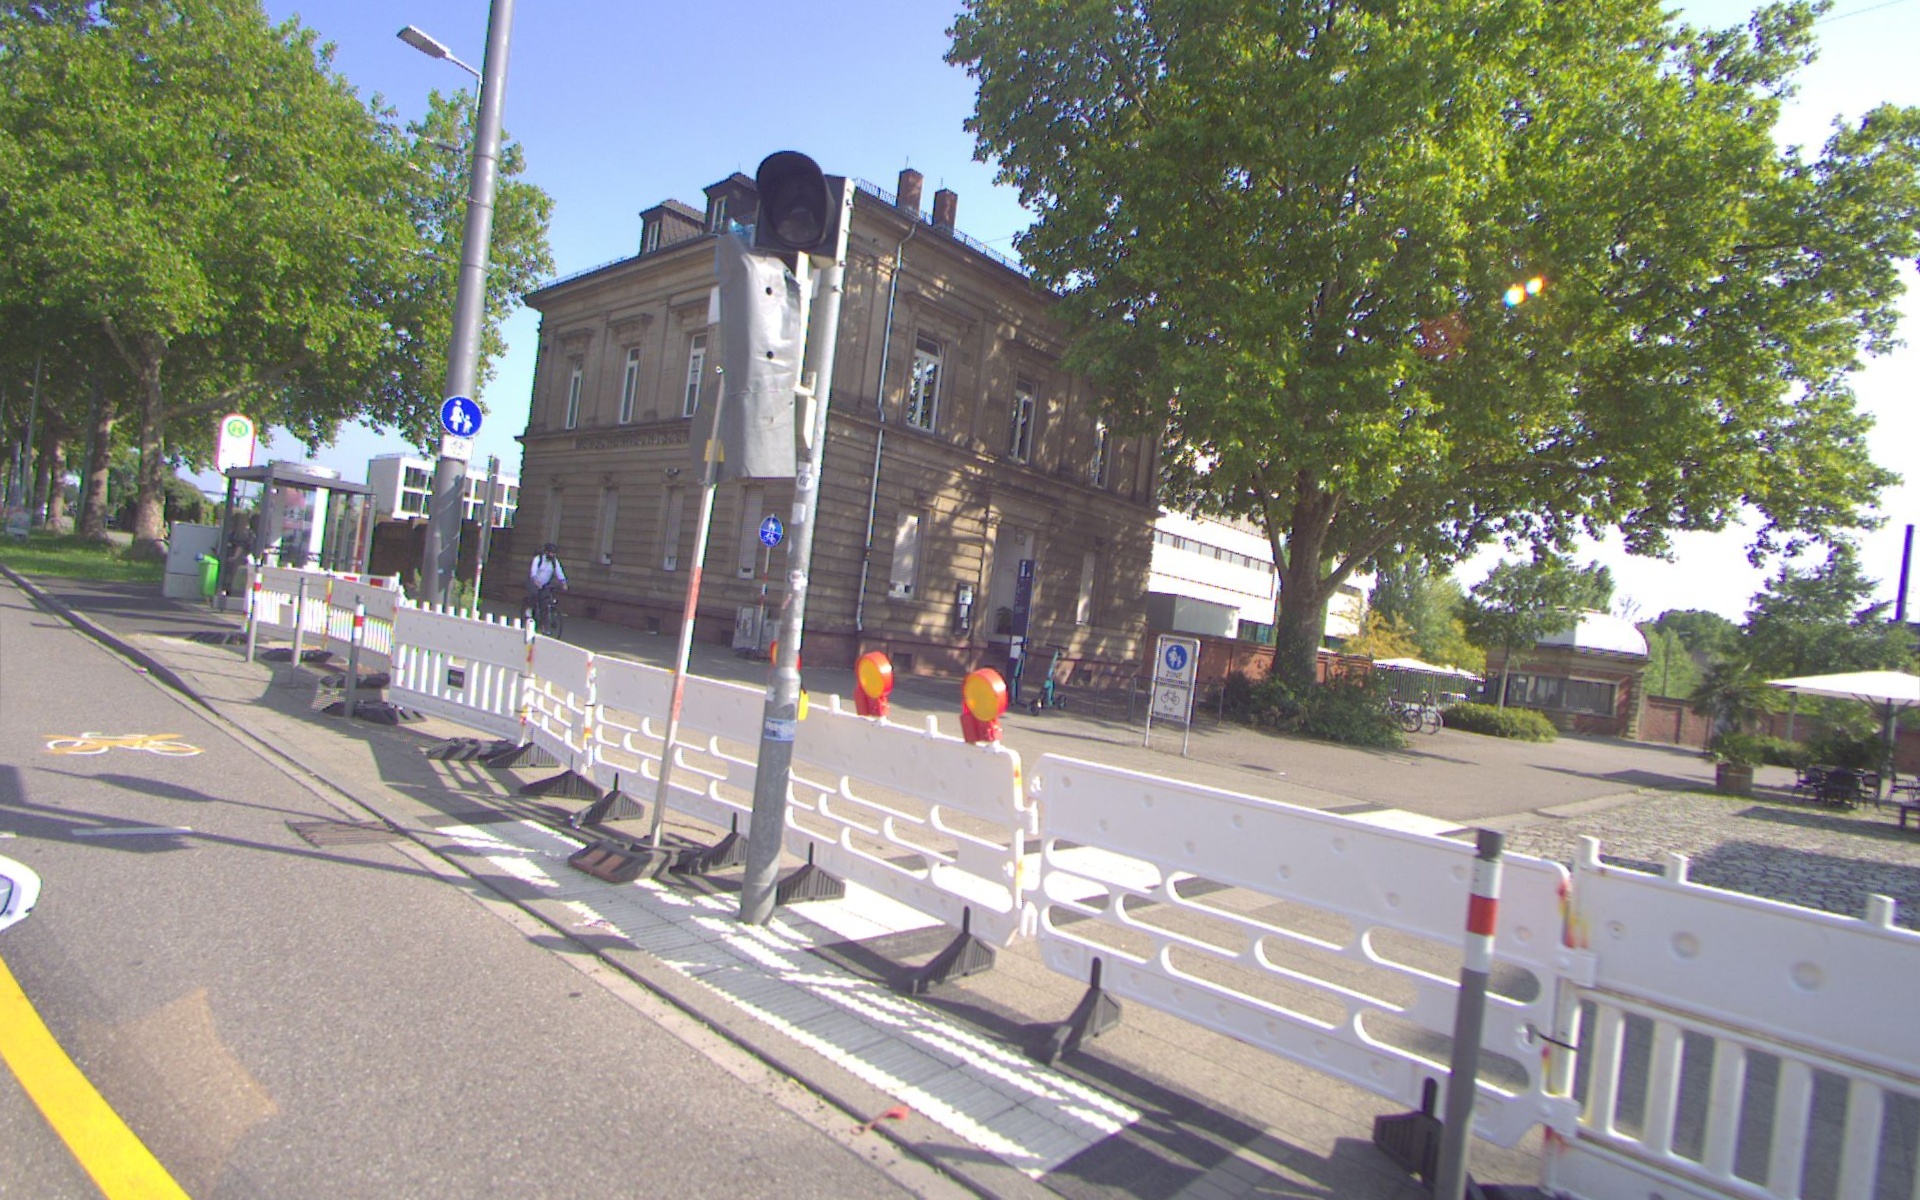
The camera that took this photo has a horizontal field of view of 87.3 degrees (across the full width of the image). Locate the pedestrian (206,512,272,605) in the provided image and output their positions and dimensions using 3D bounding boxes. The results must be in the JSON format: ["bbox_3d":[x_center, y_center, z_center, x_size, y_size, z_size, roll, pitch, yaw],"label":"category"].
[{"bbox_3d":[-14.242,-0.815,19.879,0.637,1.718,0.689,7,0,23],"label":"pedestrian"}]

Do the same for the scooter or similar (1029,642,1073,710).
[{"bbox_3d":[1.778,1.448,19.499,0.415,1.225,1.255,8,1,18],"label":"scooter or similar"}]

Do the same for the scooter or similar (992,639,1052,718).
[{"bbox_3d":[1.102,1.386,18.080,0.417,1.225,1.247,7,2,-24],"label":"scooter or similar"}]

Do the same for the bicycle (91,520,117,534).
[{"bbox_3d":[-75.412,-6.424,88.642,1.649,0.982,0.500,5,1,-41],"label":"bicycle"}]

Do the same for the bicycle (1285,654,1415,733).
[{"bbox_3d":[11.125,2.647,28.817,3.241,1.824,0.845,6,0,43],"label":"bicycle"}]

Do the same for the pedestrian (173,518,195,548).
[{"bbox_3d":[-44.607,-3.830,57.833,0.935,1.624,0.804,6,1,44],"label":"pedestrian"}]

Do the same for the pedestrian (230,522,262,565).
[{"bbox_3d":[-30.301,-2.402,42.682,0.999,1.707,0.817,6,1,44],"label":"pedestrian"}]

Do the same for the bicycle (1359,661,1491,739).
[{"bbox_3d":[13.571,2.896,29.454,3.241,1.824,0.845,6,0,43],"label":"bicycle"}]

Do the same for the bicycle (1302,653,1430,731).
[{"bbox_3d":[11.879,2.684,29.571,3.241,1.824,0.845,6,0,43],"label":"bicycle"}]

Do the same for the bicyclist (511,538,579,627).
[{"bbox_3d":[-7.946,-0.339,19.262,0.942,1.562,0.716,7,0,41],"label":"bicyclist"}]

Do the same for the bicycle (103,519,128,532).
[{"bbox_3d":[-77.754,-6.898,92.638,1.650,0.982,0.500,5,1,-44],"label":"bicycle"}]

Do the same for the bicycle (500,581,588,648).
[{"bbox_3d":[-7.980,0.261,19.239,1.876,1.054,0.716,7,0,42],"label":"bicycle"}]

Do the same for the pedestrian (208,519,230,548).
[{"bbox_3d":[-43.318,-3.899,58.835,0.935,1.624,0.804,6,1,44],"label":"pedestrian"}]
